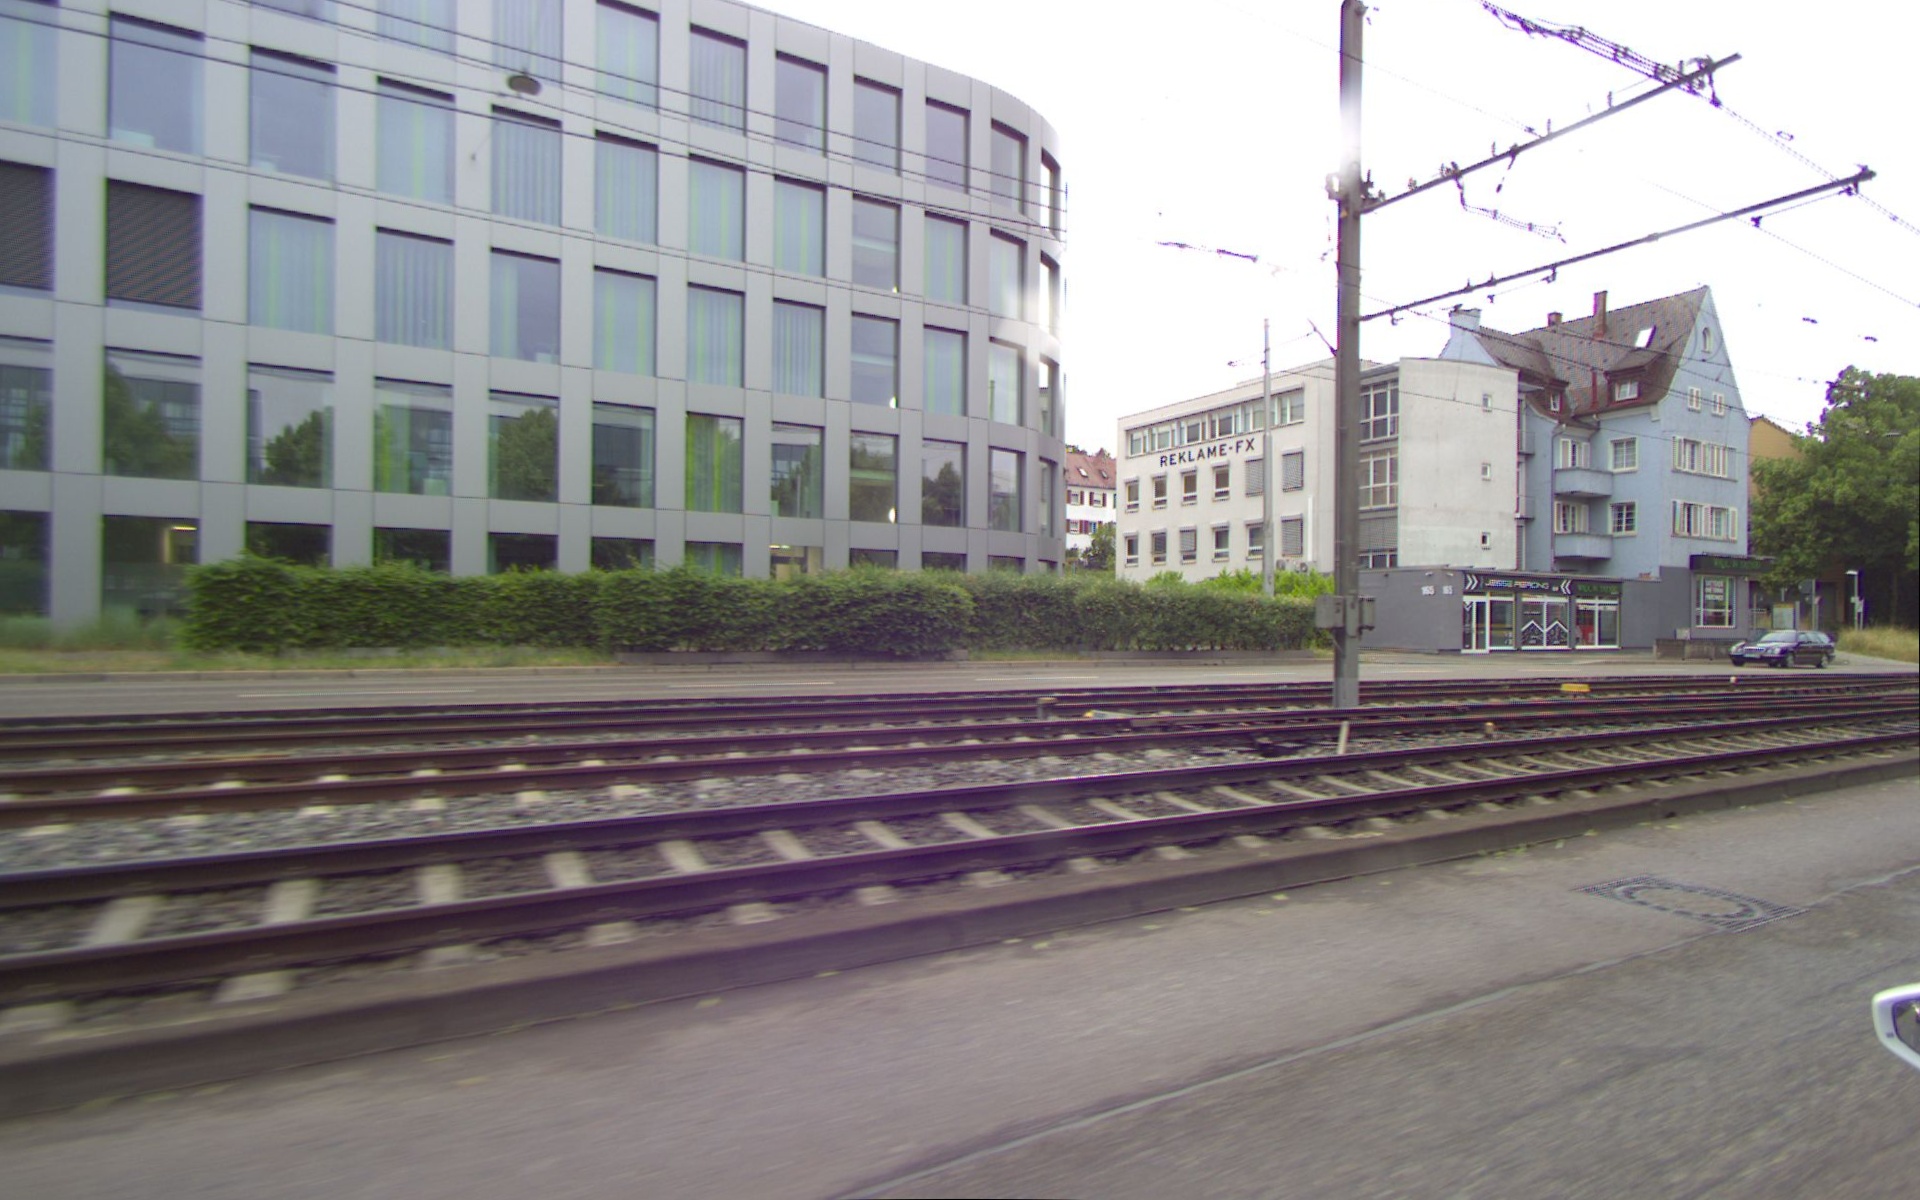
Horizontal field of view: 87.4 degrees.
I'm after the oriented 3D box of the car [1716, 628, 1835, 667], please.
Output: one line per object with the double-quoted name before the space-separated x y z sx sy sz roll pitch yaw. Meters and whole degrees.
"car" 31.145 1.814 38.323 4.767 1.342 1.894 2 -1 -29
